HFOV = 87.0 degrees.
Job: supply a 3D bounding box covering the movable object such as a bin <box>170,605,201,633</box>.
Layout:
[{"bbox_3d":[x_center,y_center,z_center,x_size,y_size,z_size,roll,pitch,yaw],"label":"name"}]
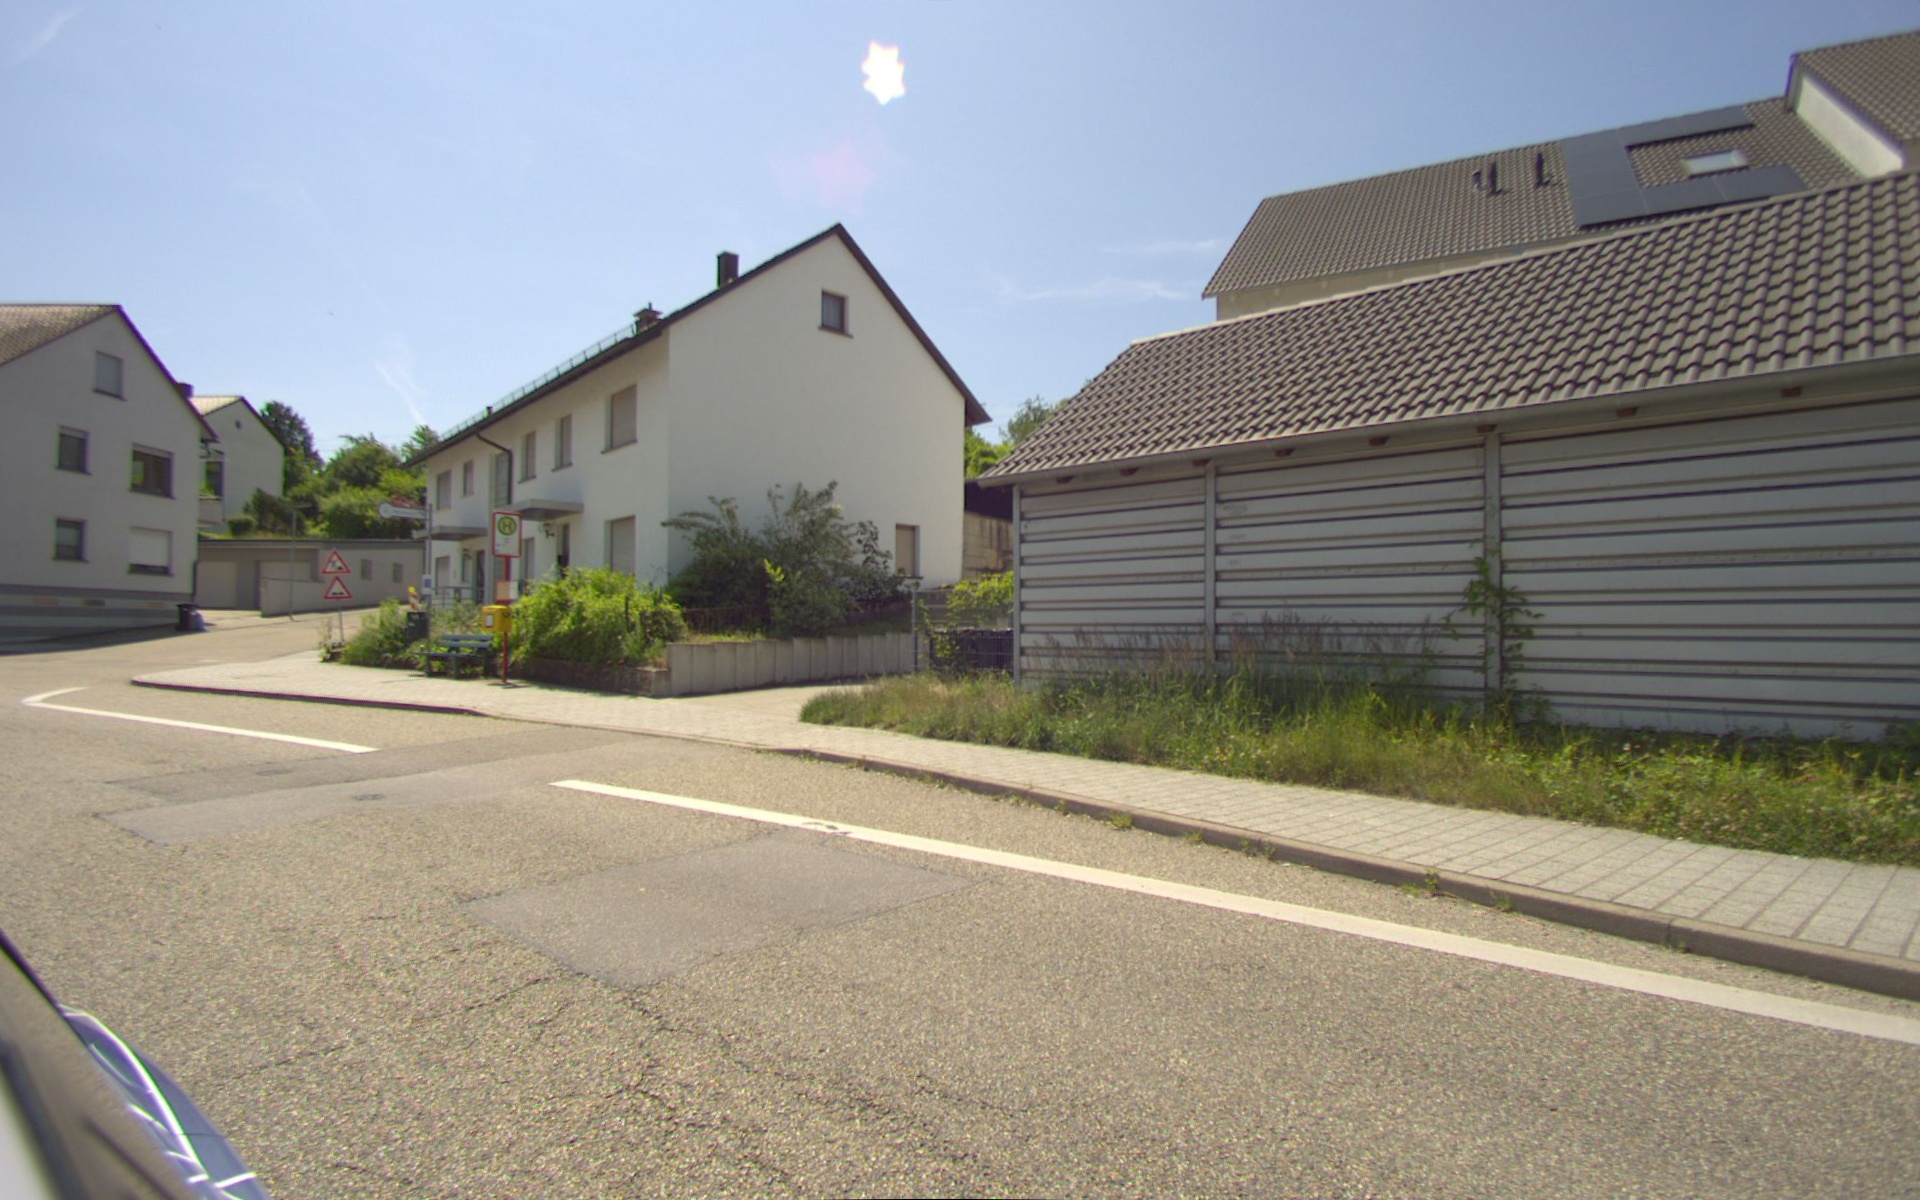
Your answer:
[{"bbox_3d":[-26.377,0.659,34.472,0.592,0.941,0.600,1,-2,-4],"label":"movable object such as a bin"}]
